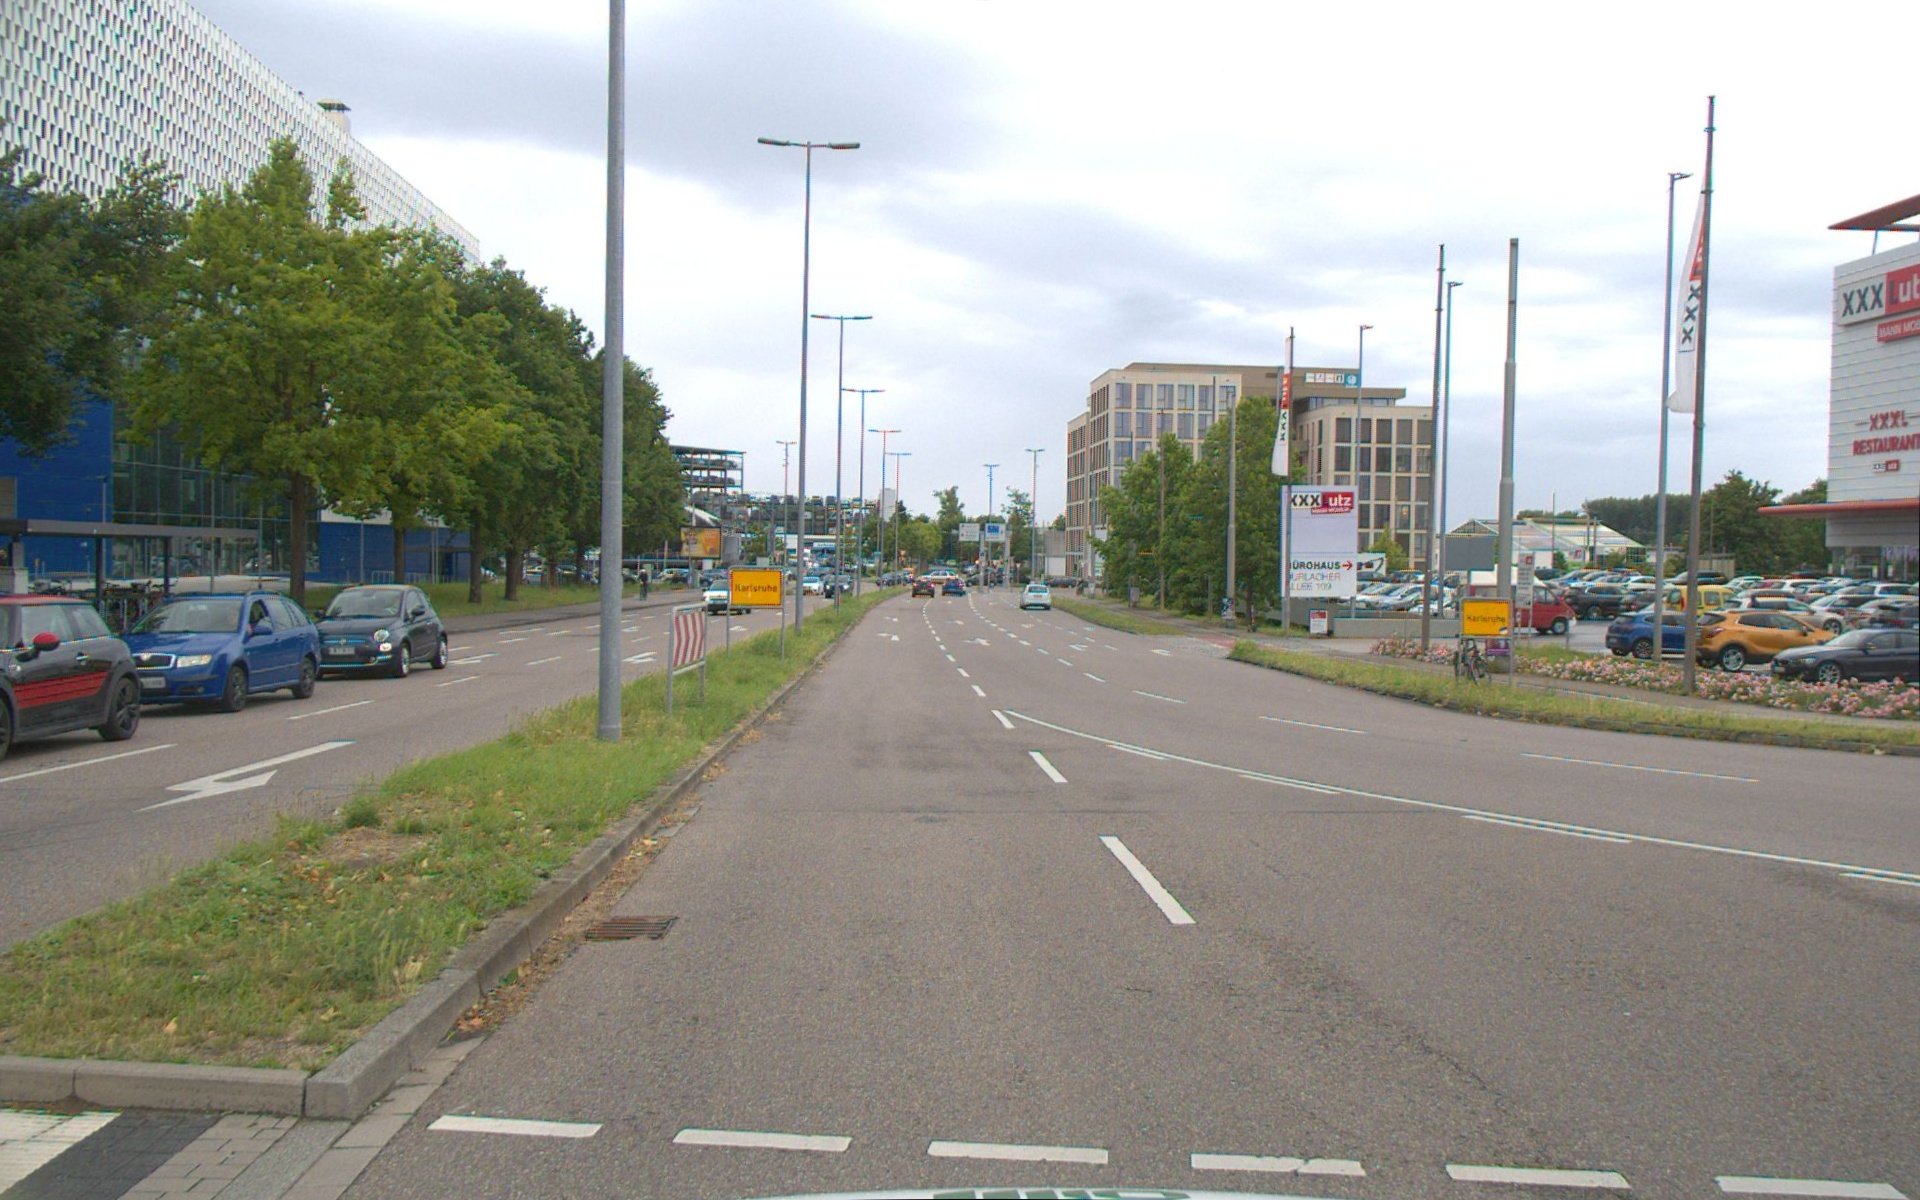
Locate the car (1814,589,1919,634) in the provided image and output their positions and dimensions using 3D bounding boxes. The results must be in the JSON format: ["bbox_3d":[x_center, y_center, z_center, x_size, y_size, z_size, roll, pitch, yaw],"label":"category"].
[{"bbox_3d":[36.325,0.446,65.659,3.905,1.663,1.787,1,1,0],"label":"car"}]

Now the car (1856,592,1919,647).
[{"bbox_3d":[31.362,0.607,53.501,3.814,1.682,1.831,0,2,-4],"label":"car"}]

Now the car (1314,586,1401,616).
[{"bbox_3d":[20.809,0.046,86.702,4.069,1.373,1.809,1,3,-3],"label":"car"}]

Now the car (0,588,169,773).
[{"bbox_3d":[-8.891,0.664,15.037,1.629,1.529,4.062,0,1,-3],"label":"car"}]

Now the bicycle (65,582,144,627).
[{"bbox_3d":[-23.273,0.120,44.990,1.773,1.101,0.593,3,1,-2],"label":"bicycle"}]

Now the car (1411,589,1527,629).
[{"bbox_3d":[21.564,0.375,70.182,4.285,1.486,1.961,1,3,0],"label":"car"}]

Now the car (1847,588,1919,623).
[{"bbox_3d":[45.676,0.289,81.019,3.494,1.615,1.740,2,1,2],"label":"car"}]

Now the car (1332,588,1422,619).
[{"bbox_3d":[20.830,0.172,82.732,3.973,1.373,1.763,1,3,-3],"label":"car"}]

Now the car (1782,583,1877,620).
[{"bbox_3d":[45.168,0.074,85.936,3.904,1.780,1.896,2,1,2],"label":"car"}]

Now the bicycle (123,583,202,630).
[{"bbox_3d":[-21.816,0.174,45.257,1.973,1.177,0.594,3,1,12],"label":"bicycle"}]

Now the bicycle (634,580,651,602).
[{"bbox_3d":[-19.107,-0.554,99.474,0.630,1.272,2.055,2,1,-2],"label":"bicycle"}]

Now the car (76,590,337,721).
[{"bbox_3d":[-9.475,0.627,21.161,1.570,1.470,4.141,-1,0,-3],"label":"car"}]

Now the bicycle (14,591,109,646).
[{"bbox_3d":[-21.121,0.428,38.903,1.856,1.177,0.593,3,1,-2],"label":"bicycle"}]

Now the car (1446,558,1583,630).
[{"bbox_3d":[21.890,-0.270,65.417,4.626,2.623,2.171,1,3,0],"label":"car"}]

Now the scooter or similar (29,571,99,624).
[{"bbox_3d":[-20.175,-0.045,37.262,0.415,1.168,1.346,3,1,29],"label":"scooter or similar"}]

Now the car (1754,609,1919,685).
[{"bbox_3d":[21.964,1.143,40.183,4.432,1.610,1.771,1,3,1],"label":"car"}]

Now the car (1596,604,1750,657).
[{"bbox_3d":[21.689,0.916,50.402,3.906,1.480,1.814,1,0,-1],"label":"car"}]

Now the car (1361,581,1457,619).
[{"bbox_3d":[20.989,-0.016,77.430,3.971,1.567,1.764,1,3,0],"label":"car"}]

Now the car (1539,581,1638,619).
[{"bbox_3d":[30.599,0.000,80.580,4.086,1.692,1.834,1,1,1],"label":"car"}]

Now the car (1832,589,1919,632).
[{"bbox_3d":[35.844,0.416,63.133,4.152,1.494,1.740,2,3,0],"label":"car"}]

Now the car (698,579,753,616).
[{"bbox_3d":[-10.389,-0.112,73.570,1.892,1.545,4.181,-1,0,-1],"label":"car"}]

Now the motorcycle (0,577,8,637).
[{"bbox_3d":[-23.205,0.114,37.672,2.450,1.379,0.797,3,1,-15],"label":"motorcycle"}]

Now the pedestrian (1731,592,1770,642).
[{"bbox_3d":[28.988,0.628,60.647,0.920,1.749,0.885,1,3,-3],"label":"pedestrian"}]

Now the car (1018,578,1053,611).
[{"bbox_3d":[4.602,-0.365,101.766,1.953,1.782,4.181,1,3,0],"label":"car"}]

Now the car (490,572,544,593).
[{"bbox_3d":[-45.418,-1.820,169.695,5.032,1.997,1.880,0,6,-6],"label":"car"}]

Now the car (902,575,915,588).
[{"bbox_3d":[-6.617,-2.425,214.194,1.568,1.478,3.325,1,3,0],"label":"car"}]

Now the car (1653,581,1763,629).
[{"bbox_3d":[30.741,0.188,68.029,3.660,1.798,1.734,1,3,0],"label":"car"}]

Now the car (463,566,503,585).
[{"bbox_3d":[-49.838,-2.557,172.820,3.686,1.776,1.879,1,3,-4],"label":"car"}]

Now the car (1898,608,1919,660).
[{"bbox_3d":[31.351,1.081,50.897,3.905,1.579,1.864,1,0,0],"label":"car"}]

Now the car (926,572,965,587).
[{"bbox_3d":[-1.684,-2.344,190.130,4.333,1.689,1.997,1,1,-8],"label":"car"}]

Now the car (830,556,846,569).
[{"bbox_3d":[-18.108,-5.628,245.962,1.738,1.735,3.920,1,3,4],"label":"car"}]

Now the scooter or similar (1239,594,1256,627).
[{"bbox_3d":[13.018,0.460,74.848,0.636,1.446,1.820,1,0,7],"label":"scooter or similar"}]

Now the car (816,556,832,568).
[{"bbox_3d":[-20.253,-5.671,245.888,1.738,1.735,3.920,1,3,4],"label":"car"}]

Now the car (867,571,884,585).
[{"bbox_3d":[-9.190,-2.370,180.487,1.744,1.481,4.181,-1,1,-2],"label":"car"}]

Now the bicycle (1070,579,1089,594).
[{"bbox_3d":[11.467,-1.298,158.979,0.694,1.318,1.985,0,2,-36],"label":"bicycle"}]

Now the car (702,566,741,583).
[{"bbox_3d":[-26.795,-2.841,185.772,4.350,1.741,1.997,1,2,-9],"label":"car"}]

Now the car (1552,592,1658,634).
[{"bbox_3d":[30.342,0.586,77.925,4.223,1.773,1.890,1,3,1],"label":"car"}]

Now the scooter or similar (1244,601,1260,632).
[{"bbox_3d":[11.756,0.658,66.569,0.362,1.211,1.248,1,2,-2],"label":"scooter or similar"}]

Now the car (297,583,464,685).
[{"bbox_3d":[-9.833,0.522,28.366,1.570,1.523,4.036,-1,1,-3],"label":"car"}]

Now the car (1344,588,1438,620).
[{"bbox_3d":[20.780,0.169,79.849,3.973,1.373,1.835,1,3,-3],"label":"car"}]

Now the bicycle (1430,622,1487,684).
[{"bbox_3d":[9.238,0.966,30.693,0.649,1.067,1.692,1,0,4],"label":"bicycle"}]

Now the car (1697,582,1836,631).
[{"bbox_3d":[30.479,0.236,62.613,4.321,1.611,1.835,2,3,0],"label":"car"}]

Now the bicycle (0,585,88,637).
[{"bbox_3d":[-22.901,0.277,41.224,1.975,1.177,0.593,3,1,-2],"label":"bicycle"}]

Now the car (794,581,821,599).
[{"bbox_3d":[-12.312,-0.823,133.738,1.828,1.479,4.167,-1,1,-2],"label":"car"}]

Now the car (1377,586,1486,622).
[{"bbox_3d":[21.227,0.166,74.582,4.374,1.443,1.867,1,3,0],"label":"car"}]

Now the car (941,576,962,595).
[{"bbox_3d":[-0.757,-1.248,143.491,1.797,1.540,4.000,2,2,-1],"label":"car"}]

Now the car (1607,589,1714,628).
[{"bbox_3d":[30.827,0.363,72.830,3.907,1.561,1.888,1,1,-3],"label":"car"}]

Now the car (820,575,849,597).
[{"bbox_3d":[-8.782,-0.977,115.821,1.892,1.512,4.437,-1,1,-3],"label":"car"}]

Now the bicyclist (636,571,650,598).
[{"bbox_3d":[-19.073,-0.951,99.487,0.627,1.604,1.000,2,1,-2],"label":"bicyclist"}]

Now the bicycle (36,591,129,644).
[{"bbox_3d":[-21.193,0.419,39.966,1.856,1.177,0.593,3,1,-2],"label":"bicycle"}]

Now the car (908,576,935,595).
[{"bbox_3d":[-2.997,-1.127,128.111,1.948,1.453,4.239,1,0,-3],"label":"car"}]

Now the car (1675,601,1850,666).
[{"bbox_3d":[21.995,0.898,45.439,3.904,1.672,1.816,1,1,3],"label":"car"}]
